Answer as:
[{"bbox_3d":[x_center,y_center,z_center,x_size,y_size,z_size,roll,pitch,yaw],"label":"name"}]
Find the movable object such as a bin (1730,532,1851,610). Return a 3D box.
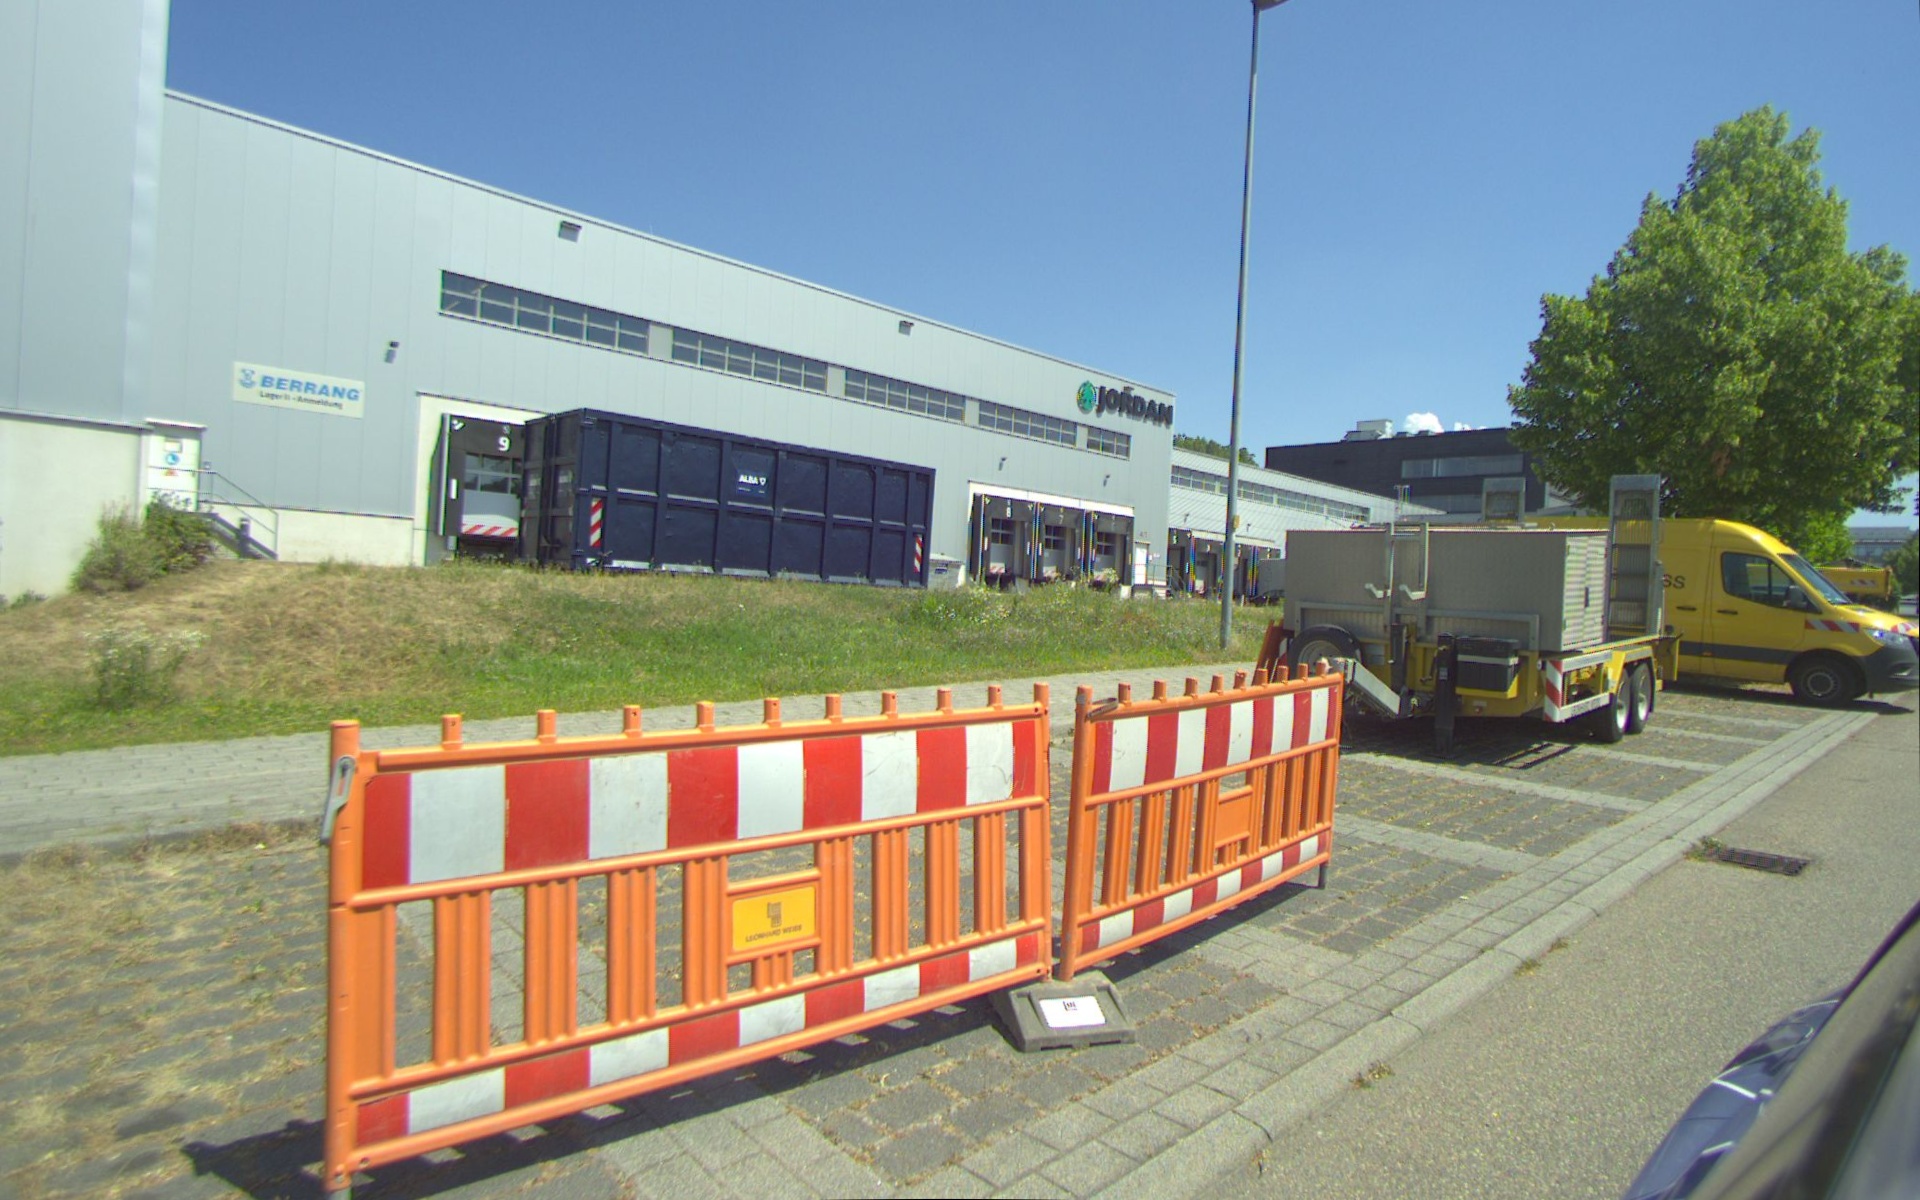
[{"bbox_3d":[30.141,-1.035,36.634,6.457,2.613,1.999,-1,2,-38],"label":"movable object such as a bin"}]

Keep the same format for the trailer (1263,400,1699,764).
[{"bbox_3d":[5.842,-0.235,10.936,2.657,2.892,5.433,5,3,43],"label":"trailer"}]

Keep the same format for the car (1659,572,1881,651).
[{"bbox_3d":[18.211,0.189,22.870,1.599,1.480,3.667,0,4,-42],"label":"car"}]

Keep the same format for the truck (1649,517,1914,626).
[{"bbox_3d":[26.391,-1.015,32.741,6.405,3.174,2.555,3,4,44],"label":"truck"}]

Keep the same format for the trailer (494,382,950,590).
[{"bbox_3d":[-3.857,-1.664,17.721,7.281,2.452,2.664,5,-2,-40],"label":"trailer"}]

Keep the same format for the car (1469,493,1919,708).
[{"bbox_3d":[11.366,-0.193,15.673,1.965,2.765,5.792,0,4,-41],"label":"car"}]
